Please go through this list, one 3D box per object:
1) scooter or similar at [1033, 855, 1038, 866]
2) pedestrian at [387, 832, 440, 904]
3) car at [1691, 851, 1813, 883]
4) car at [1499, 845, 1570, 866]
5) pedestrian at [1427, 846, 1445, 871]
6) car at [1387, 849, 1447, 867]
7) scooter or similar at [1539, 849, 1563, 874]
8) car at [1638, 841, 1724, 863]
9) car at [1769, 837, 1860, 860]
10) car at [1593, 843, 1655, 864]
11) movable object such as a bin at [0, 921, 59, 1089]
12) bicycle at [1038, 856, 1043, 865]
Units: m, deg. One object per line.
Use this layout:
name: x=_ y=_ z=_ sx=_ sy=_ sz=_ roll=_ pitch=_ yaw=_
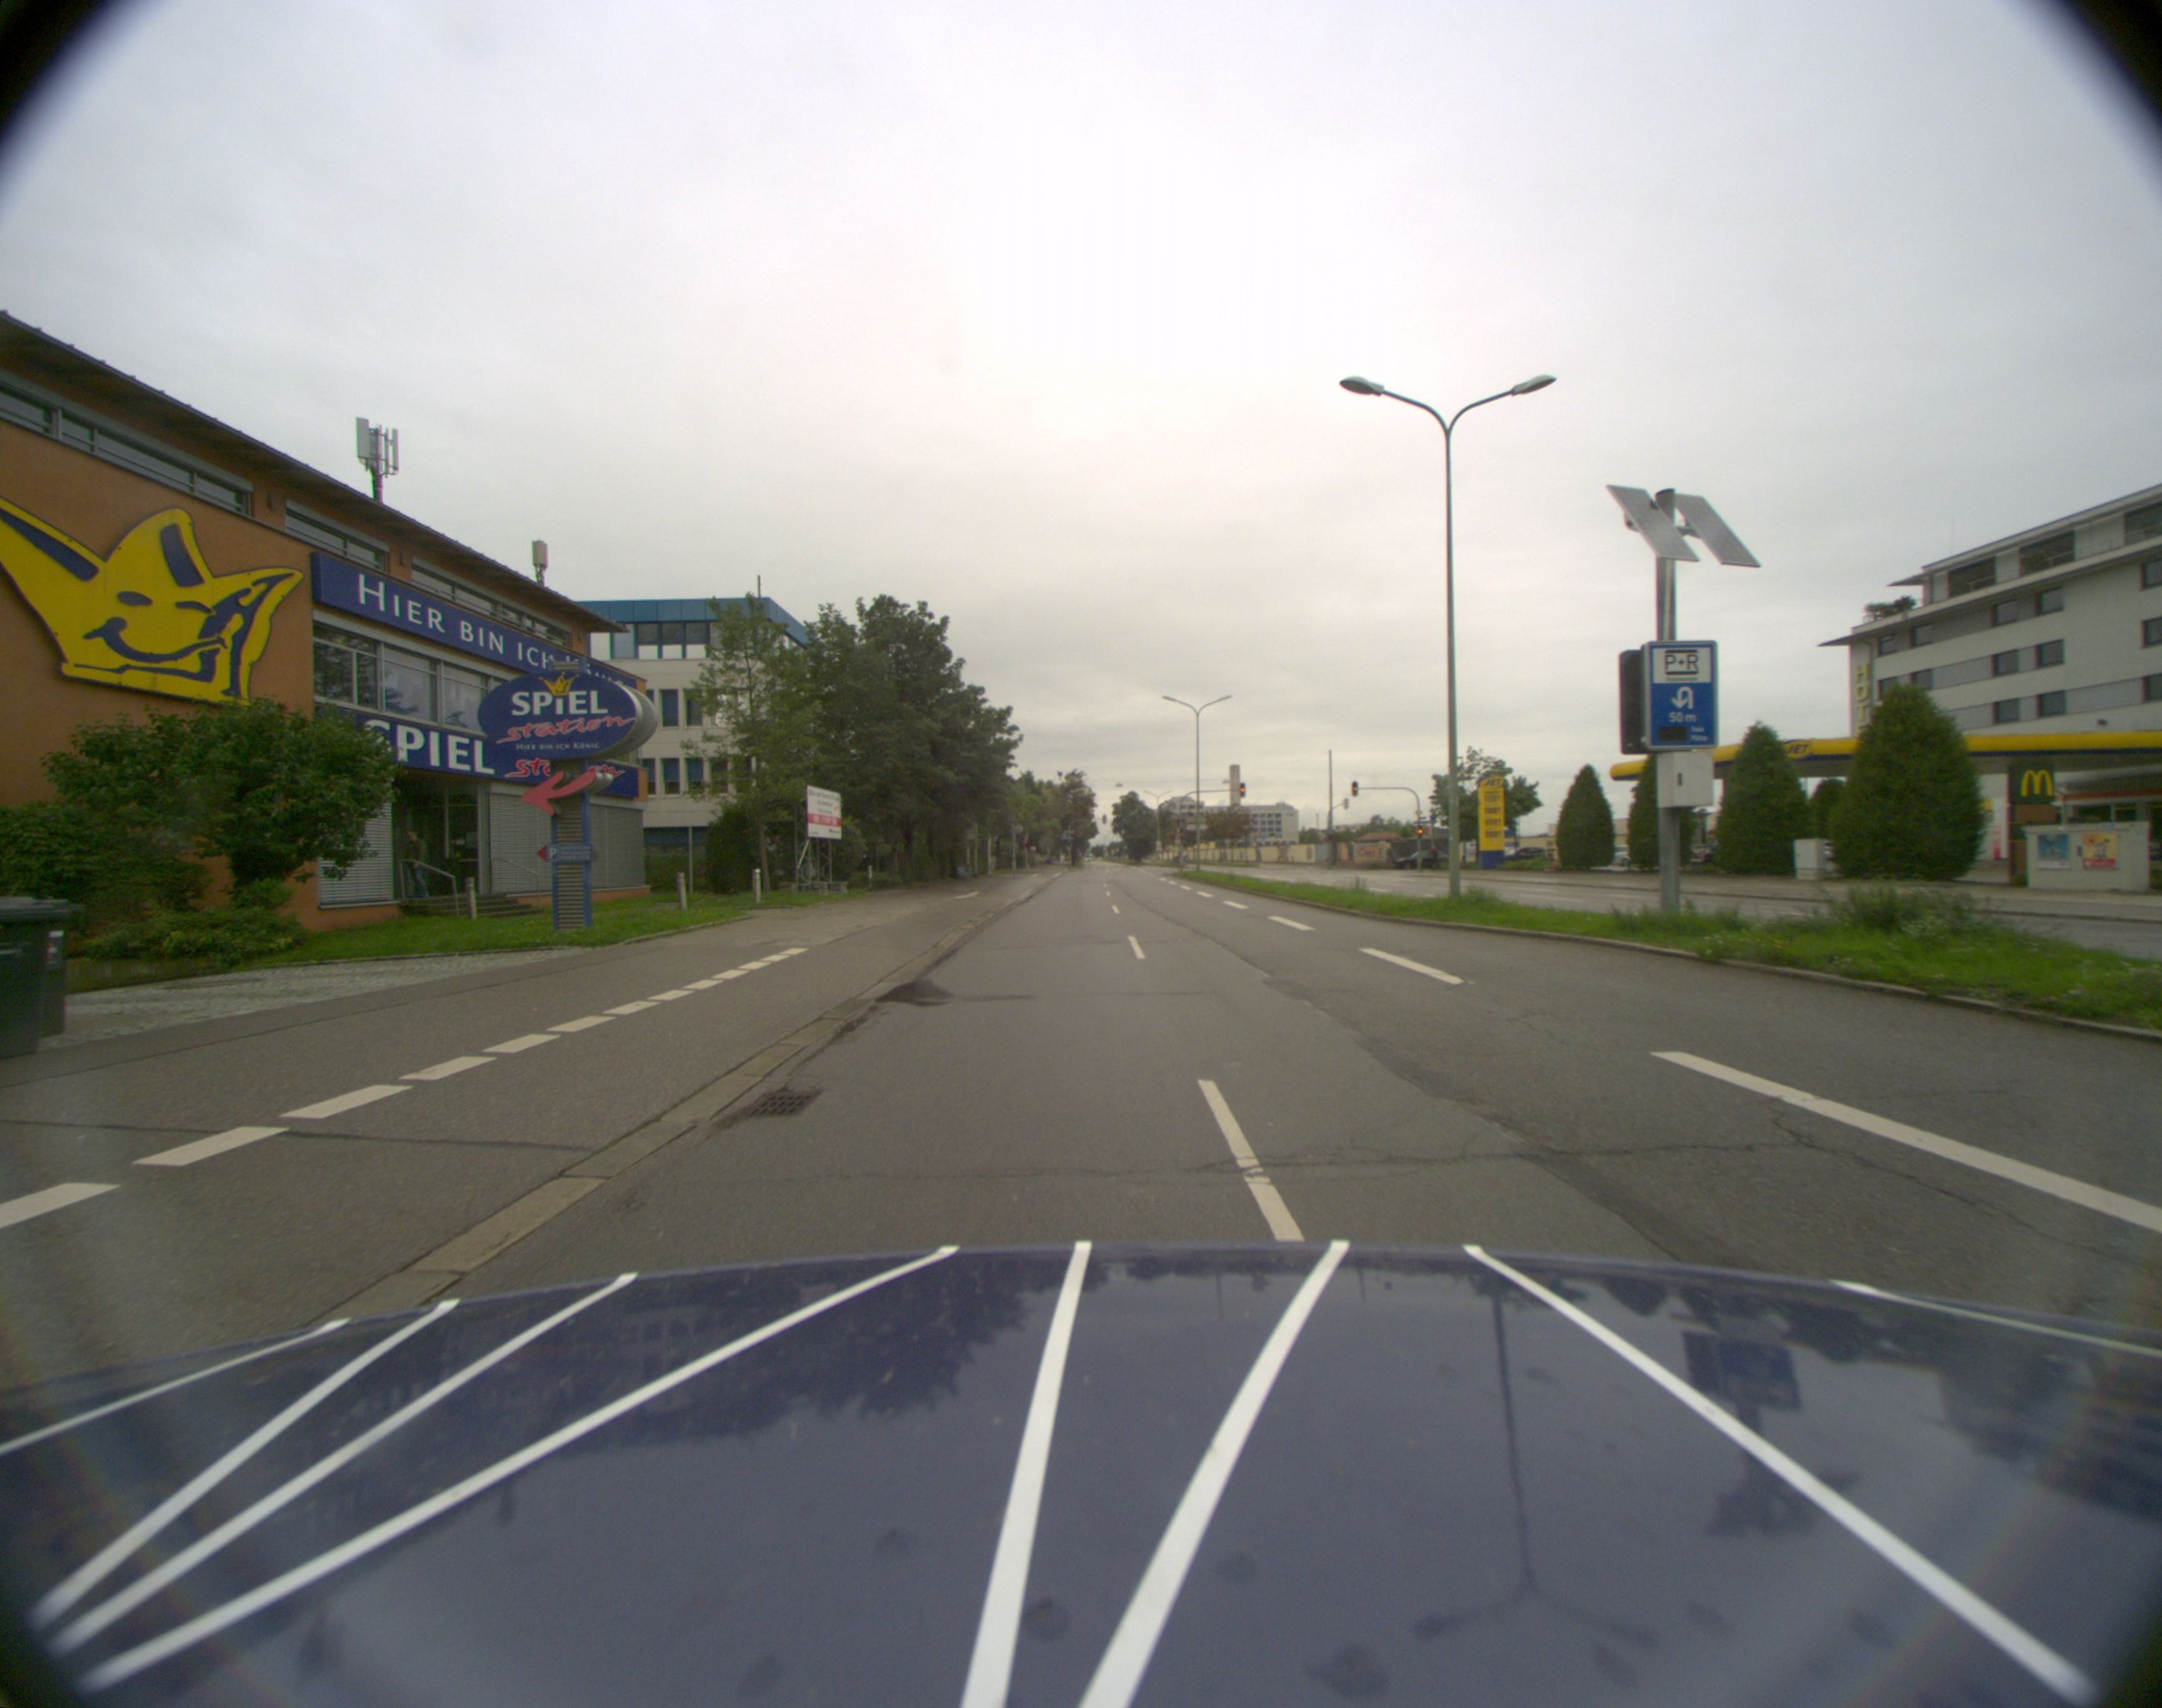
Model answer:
scooter or similar: x=-5.642 y=0.792 z=93.959 sx=0.371 sy=1.416 sz=1.403 roll=0 pitch=0 yaw=-15
pedestrian: x=-16.001 y=0.327 z=18.221 sx=0.662 sy=1.702 sz=0.660 roll=0 pitch=0 yaw=1
car: x=29.608 y=0.550 z=33.704 sx=1.799 sy=1.324 sz=3.999 roll=0 pitch=0 yaw=-1
car: x=37.245 y=0.128 z=62.509 sx=4.628 sy=1.523 sz=2.000 roll=-2 pitch=0 yaw=3
pedestrian: x=23.396 y=0.275 z=50.088 sx=0.804 sy=1.605 sz=0.687 roll=-3 pitch=0 yaw=0
car: x=28.769 y=0.355 z=65.096 sx=4.260 sy=1.419 sz=2.000 roll=-2 pitch=0 yaw=3
scooter or similar: x=24.189 y=0.377 z=39.113 sx=0.356 sy=1.235 sz=1.546 roll=-4 pitch=0 yaw=5
car: x=38.756 y=-0.124 z=49.250 sx=1.704 sy=1.376 sz=4.360 roll=0 pitch=0 yaw=-9
car: x=48.369 y=-0.370 z=50.234 sx=1.907 sy=1.469 sz=4.193 roll=0 pitch=0 yaw=0
car: x=39.502 y=-0.035 z=55.366 sx=1.627 sy=1.477 sz=3.977 roll=0 pitch=0 yaw=-1
movable object such as a bin: x=-7.433 y=1.000 z=4.919 sx=0.739 sy=1.072 sz=0.655 roll=0 pitch=0 yaw=1
bicycle: x=-6.041 y=0.946 z=113.290 sx=0.583 sy=1.288 sz=2.454 roll=0 pitch=0 yaw=-2
